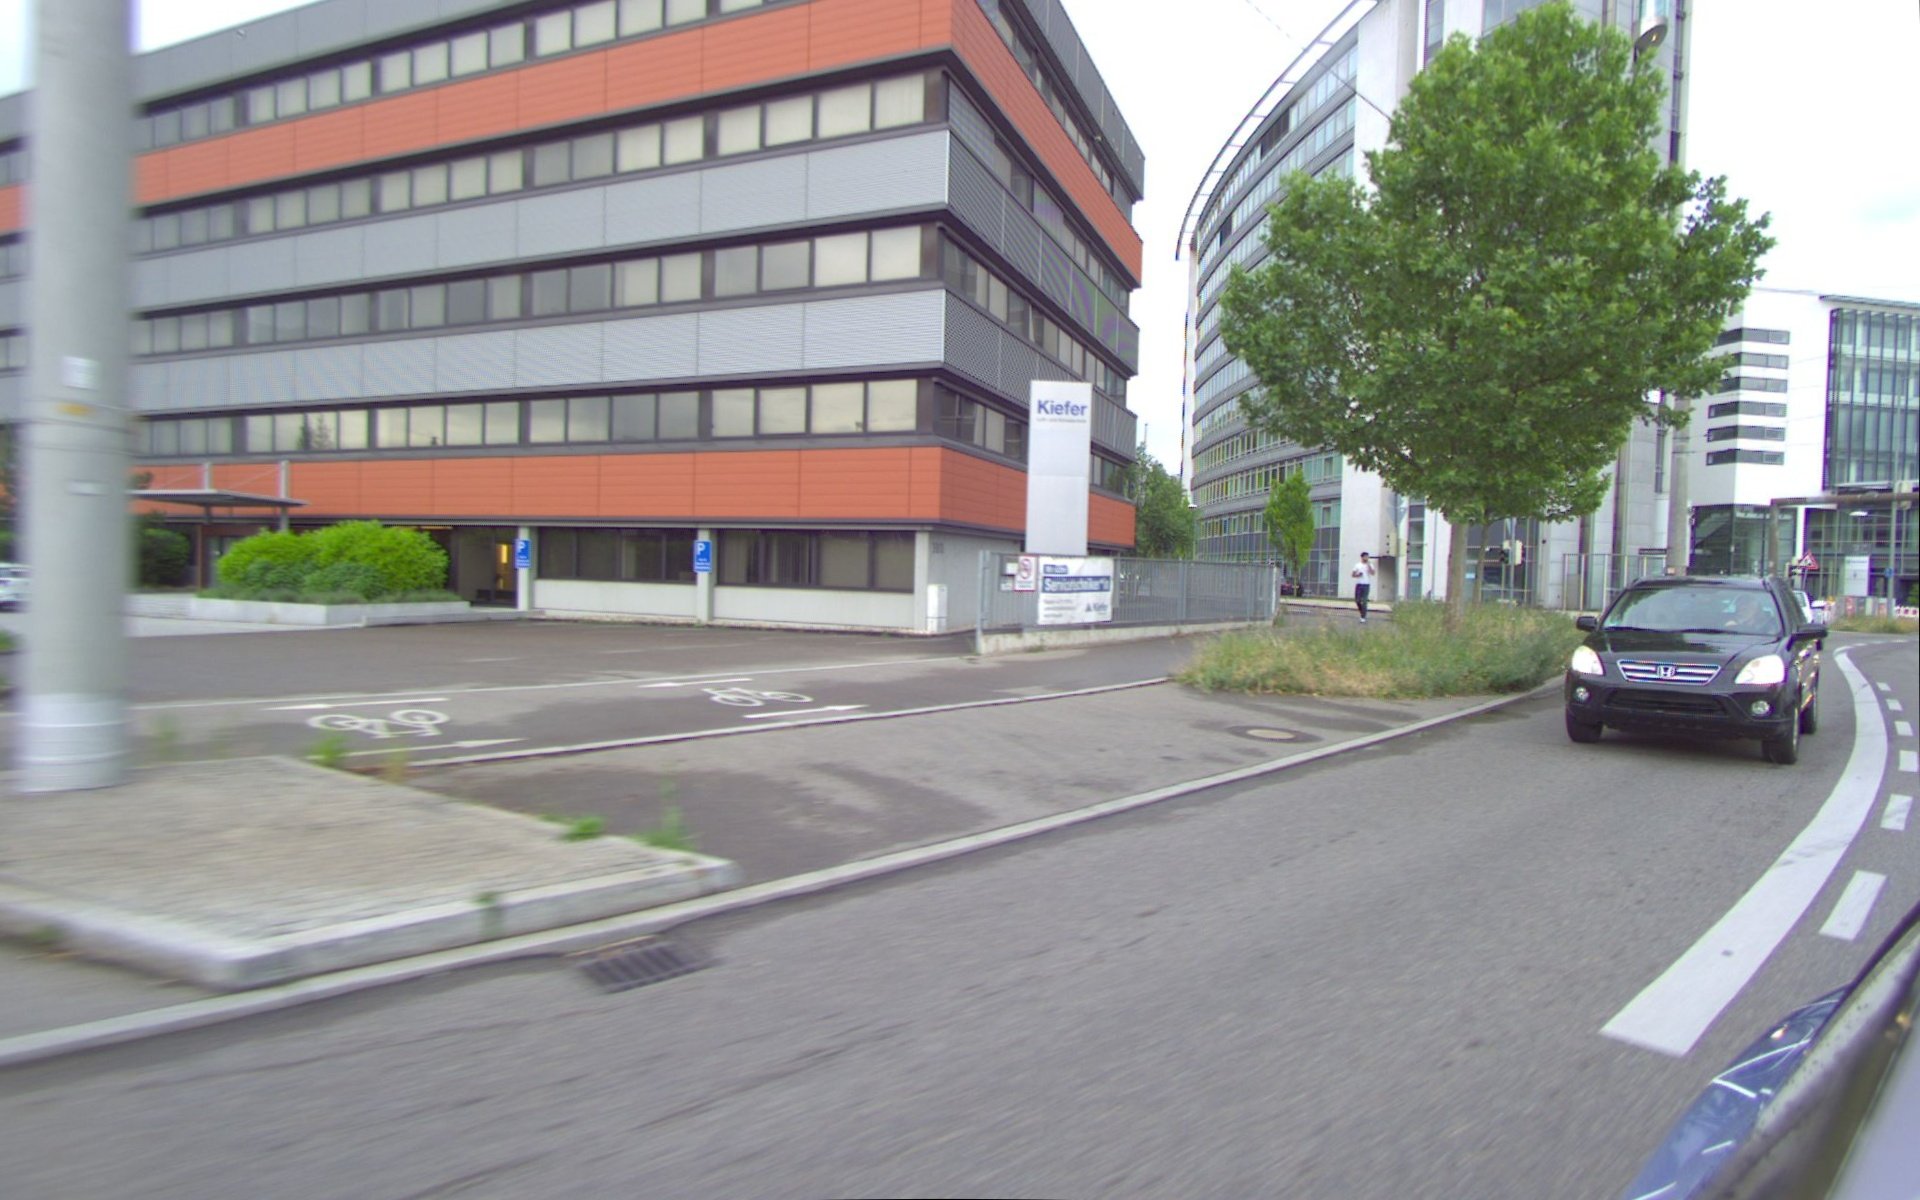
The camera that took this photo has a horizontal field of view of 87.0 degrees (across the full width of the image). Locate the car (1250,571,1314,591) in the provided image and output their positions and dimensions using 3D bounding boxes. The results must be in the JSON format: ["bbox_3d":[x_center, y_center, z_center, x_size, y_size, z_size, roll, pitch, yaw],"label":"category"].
[{"bbox_3d":[21.840,-1.304,68.775,1.861,1.330,4.333,-1,1,-22],"label":"car"}]

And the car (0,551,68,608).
[{"bbox_3d":[-29.767,-0.600,31.088,3.952,1.658,1.986,0,0,21],"label":"car"}]

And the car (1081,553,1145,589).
[{"bbox_3d":[9.287,-1.738,62.022,1.958,1.939,5.093,6,0,-14],"label":"car"}]

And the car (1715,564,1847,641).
[{"bbox_3d":[20.229,0.021,24.891,3.758,1.699,1.996,0,3,-43],"label":"car"}]

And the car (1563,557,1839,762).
[{"bbox_3d":[7.686,0.489,10.322,1.765,1.650,4.256,0,0,43],"label":"car"}]

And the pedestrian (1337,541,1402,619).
[{"bbox_3d":[11.643,-0.599,28.804,1.197,2.151,1.150,-1,3,-22],"label":"pedestrian"}]
